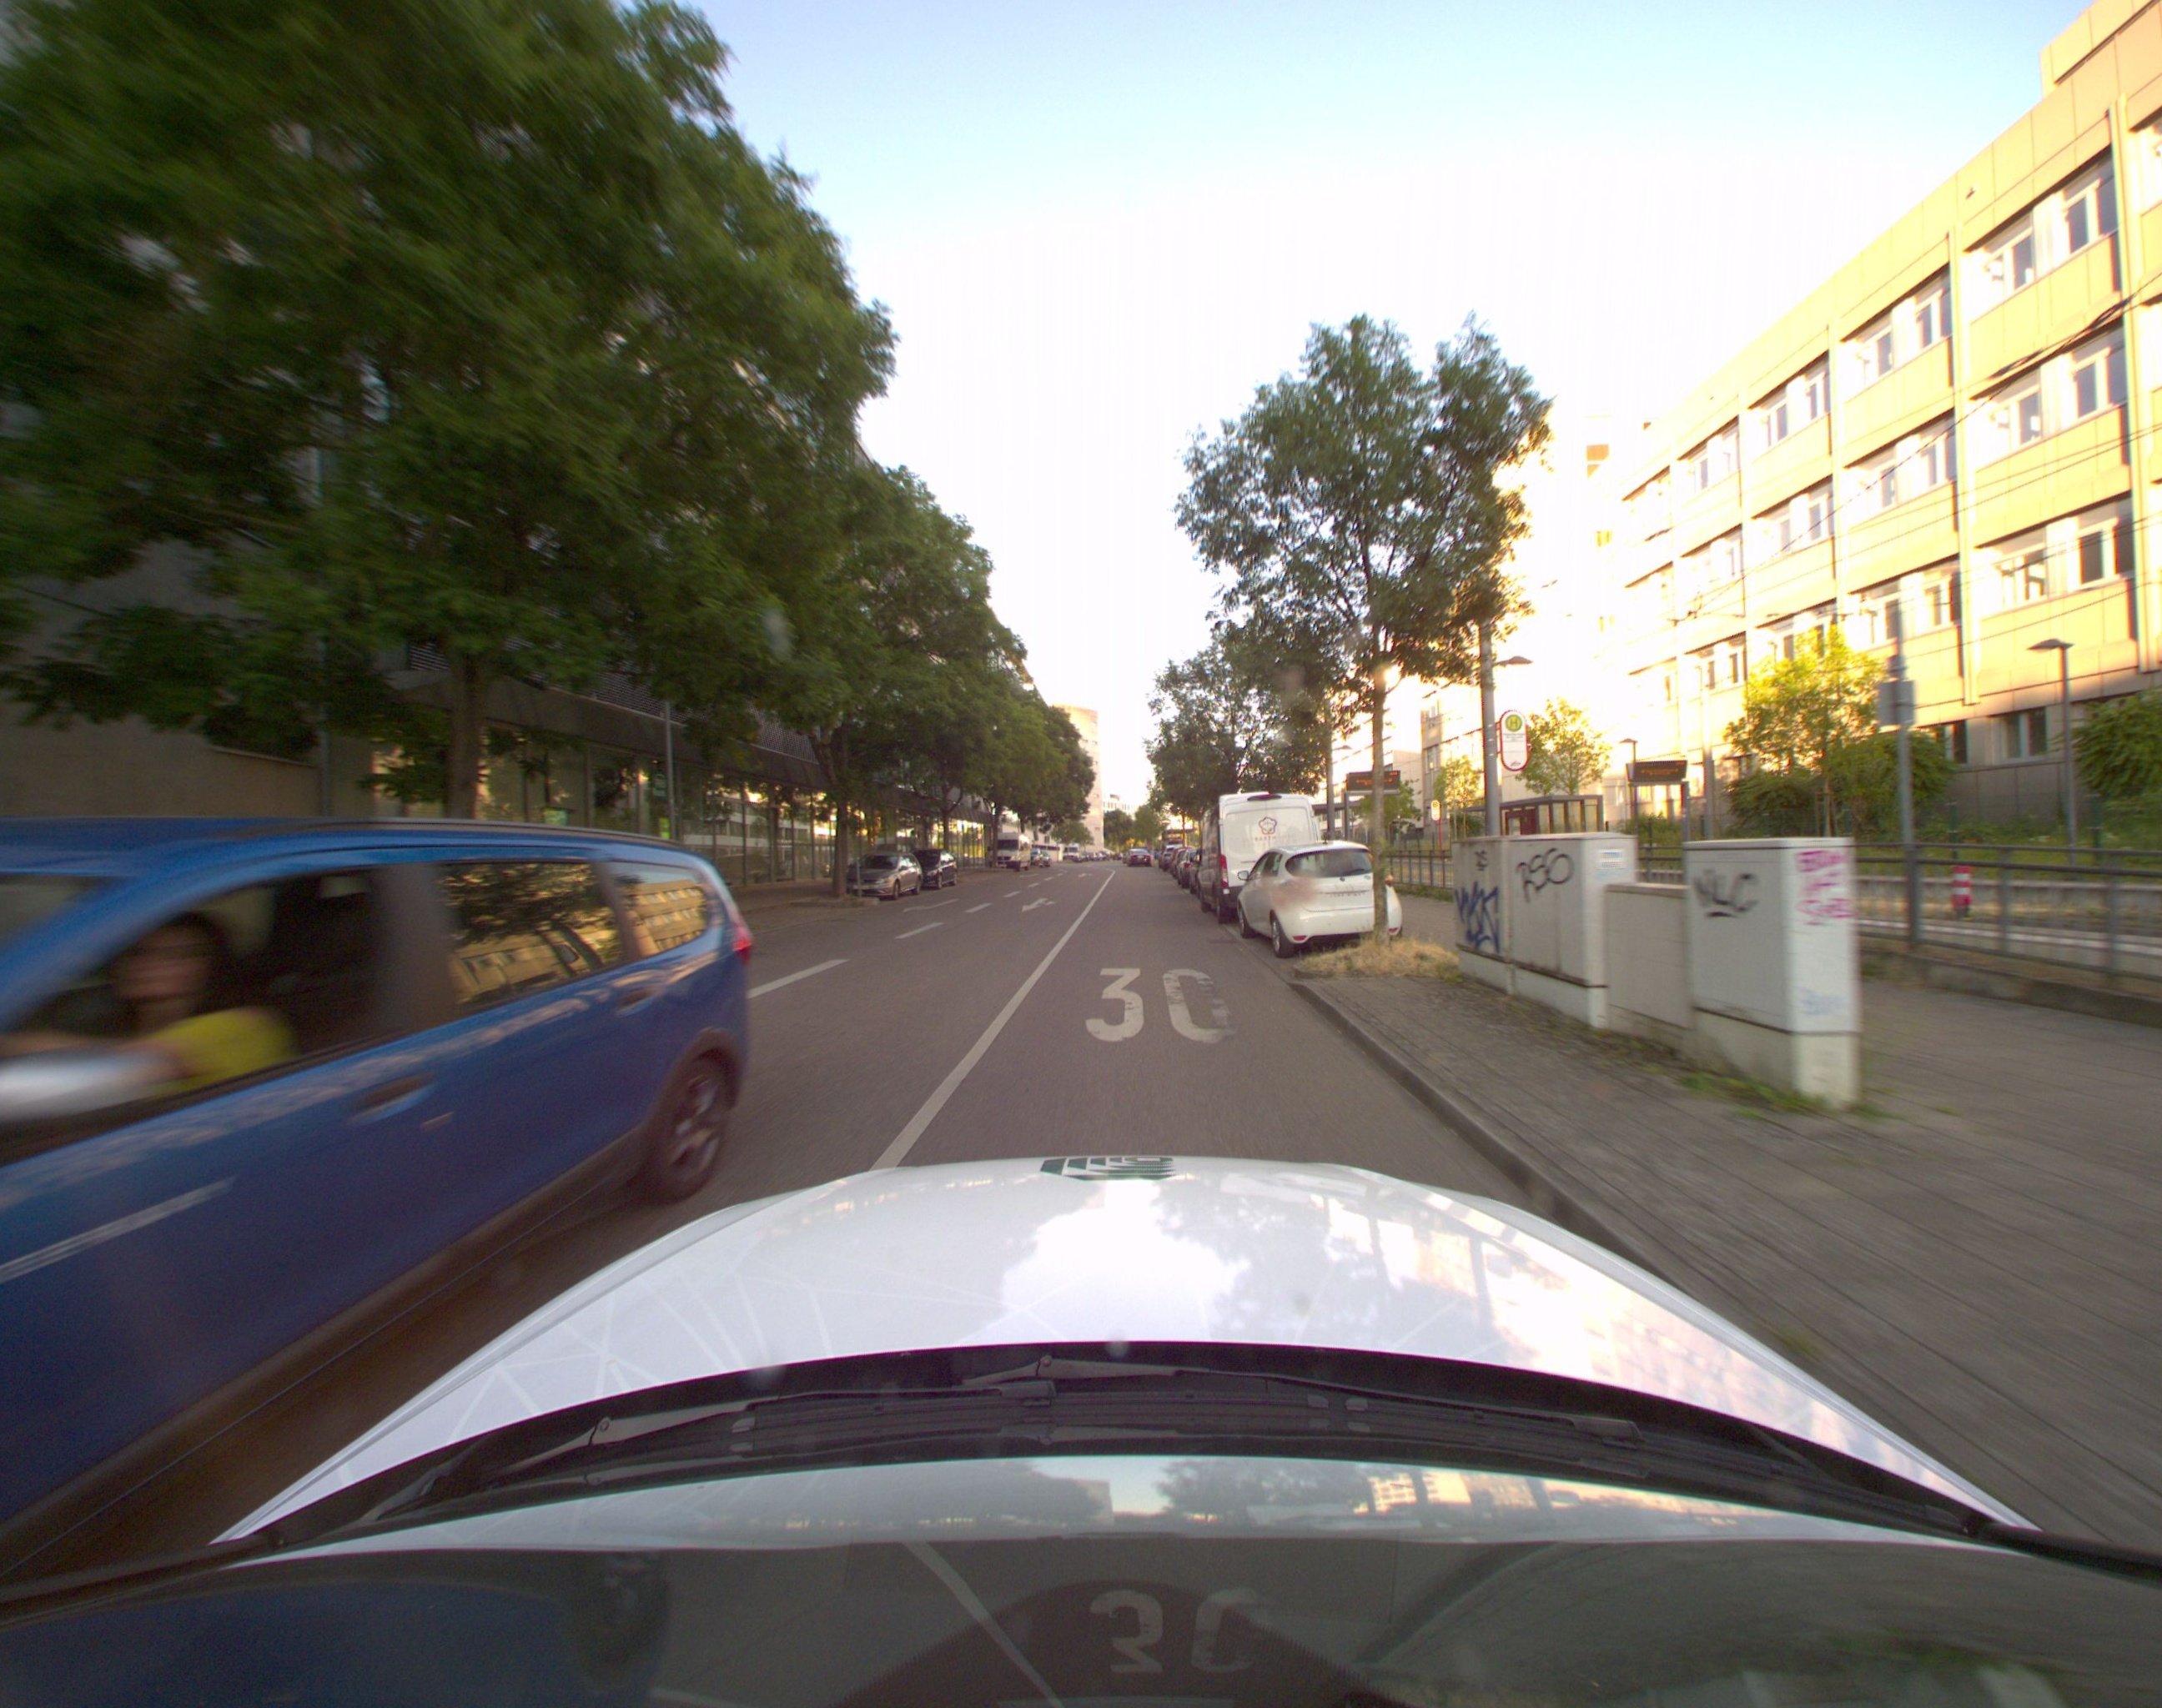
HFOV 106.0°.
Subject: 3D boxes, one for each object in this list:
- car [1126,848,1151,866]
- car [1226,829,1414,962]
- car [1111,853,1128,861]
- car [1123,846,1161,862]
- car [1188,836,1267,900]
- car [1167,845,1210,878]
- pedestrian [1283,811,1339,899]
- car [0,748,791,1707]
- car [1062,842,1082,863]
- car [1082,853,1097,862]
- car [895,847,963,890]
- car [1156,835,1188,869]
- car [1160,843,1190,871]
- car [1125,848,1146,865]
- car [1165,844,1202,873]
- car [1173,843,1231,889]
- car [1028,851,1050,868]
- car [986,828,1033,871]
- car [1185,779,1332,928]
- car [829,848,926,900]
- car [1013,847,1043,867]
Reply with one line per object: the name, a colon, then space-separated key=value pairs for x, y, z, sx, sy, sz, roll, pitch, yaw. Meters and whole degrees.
car: x=4.745 y=0.242 z=67.610 sx=1.781 sy=1.452 sz=4.515 roll=-1 pitch=0 yaw=0
car: x=3.462 y=0.534 z=12.583 sx=1.741 sy=1.583 sz=4.015 roll=-5 pitch=0 yaw=2
car: x=7.475 y=0.531 z=157.545 sx=1.928 sy=1.382 sz=4.421 roll=1 pitch=0 yaw=20
car: x=7.917 y=-0.047 z=105.517 sx=4.617 sy=2.035 sz=1.853 roll=0 pitch=0 yaw=-31
car: x=4.265 y=0.379 z=24.328 sx=1.700 sy=1.643 sz=4.270 roll=-3 pitch=0 yaw=3
car: x=5.215 y=0.361 z=39.842 sx=1.700 sy=1.451 sz=4.003 roll=-3 pitch=0 yaw=3
pedestrian: x=5.423 y=0.021 z=19.188 sx=0.985 sy=2.013 sz=0.798 roll=-1 pitch=0 yaw=-42
car: x=-2.608 y=0.670 z=2.347 sx=1.740 sy=1.678 sz=4.278 roll=-1 pitch=0 yaw=4
car: x=-1.152 y=-0.197 z=107.309 sx=1.949 sy=2.617 sz=6.902 roll=0 pitch=0 yaw=5
car: x=1.451 y=0.558 z=136.862 sx=1.712 sy=1.457 sz=4.283 roll=0 pitch=0 yaw=10
car: x=-5.955 y=0.512 z=32.451 sx=1.583 sy=1.568 sz=4.475 roll=1 pitch=0 yaw=3
car: x=6.403 y=-0.131 z=57.659 sx=1.797 sy=2.176 sz=4.739 roll=-3 pitch=0 yaw=3
car: x=5.884 y=0.197 z=51.327 sx=1.699 sy=1.580 sz=4.485 roll=-3 pitch=0 yaw=5
car: x=4.860 y=0.218 z=73.432 sx=1.670 sy=1.452 sz=4.188 roll=-1 pitch=0 yaw=1
car: x=5.756 y=0.233 z=46.056 sx=1.700 sy=1.493 sz=4.133 roll=-3 pitch=0 yaw=3
car: x=4.563 y=0.404 z=31.351 sx=1.788 sy=1.496 sz=4.787 roll=-5 pitch=0 yaw=5
car: x=-3.610 y=0.468 z=70.923 sx=1.710 sy=1.452 sz=4.397 roll=-1 pitch=0 yaw=-1
car: x=-4.686 y=-0.277 z=54.547 sx=2.091 sy=2.663 sz=6.958 roll=-1 pitch=0 yaw=4
car: x=3.692 y=-0.015 z=18.047 sx=2.043 sy=2.657 sz=5.437 roll=-5 pitch=0 yaw=2
car: x=-6.411 y=0.567 z=26.203 sx=1.696 sy=1.461 sz=4.631 roll=1 pitch=0 yaw=3
car: x=-4.185 y=0.213 z=65.453 sx=1.836 sy=1.571 sz=4.272 roll=-1 pitch=0 yaw=4
